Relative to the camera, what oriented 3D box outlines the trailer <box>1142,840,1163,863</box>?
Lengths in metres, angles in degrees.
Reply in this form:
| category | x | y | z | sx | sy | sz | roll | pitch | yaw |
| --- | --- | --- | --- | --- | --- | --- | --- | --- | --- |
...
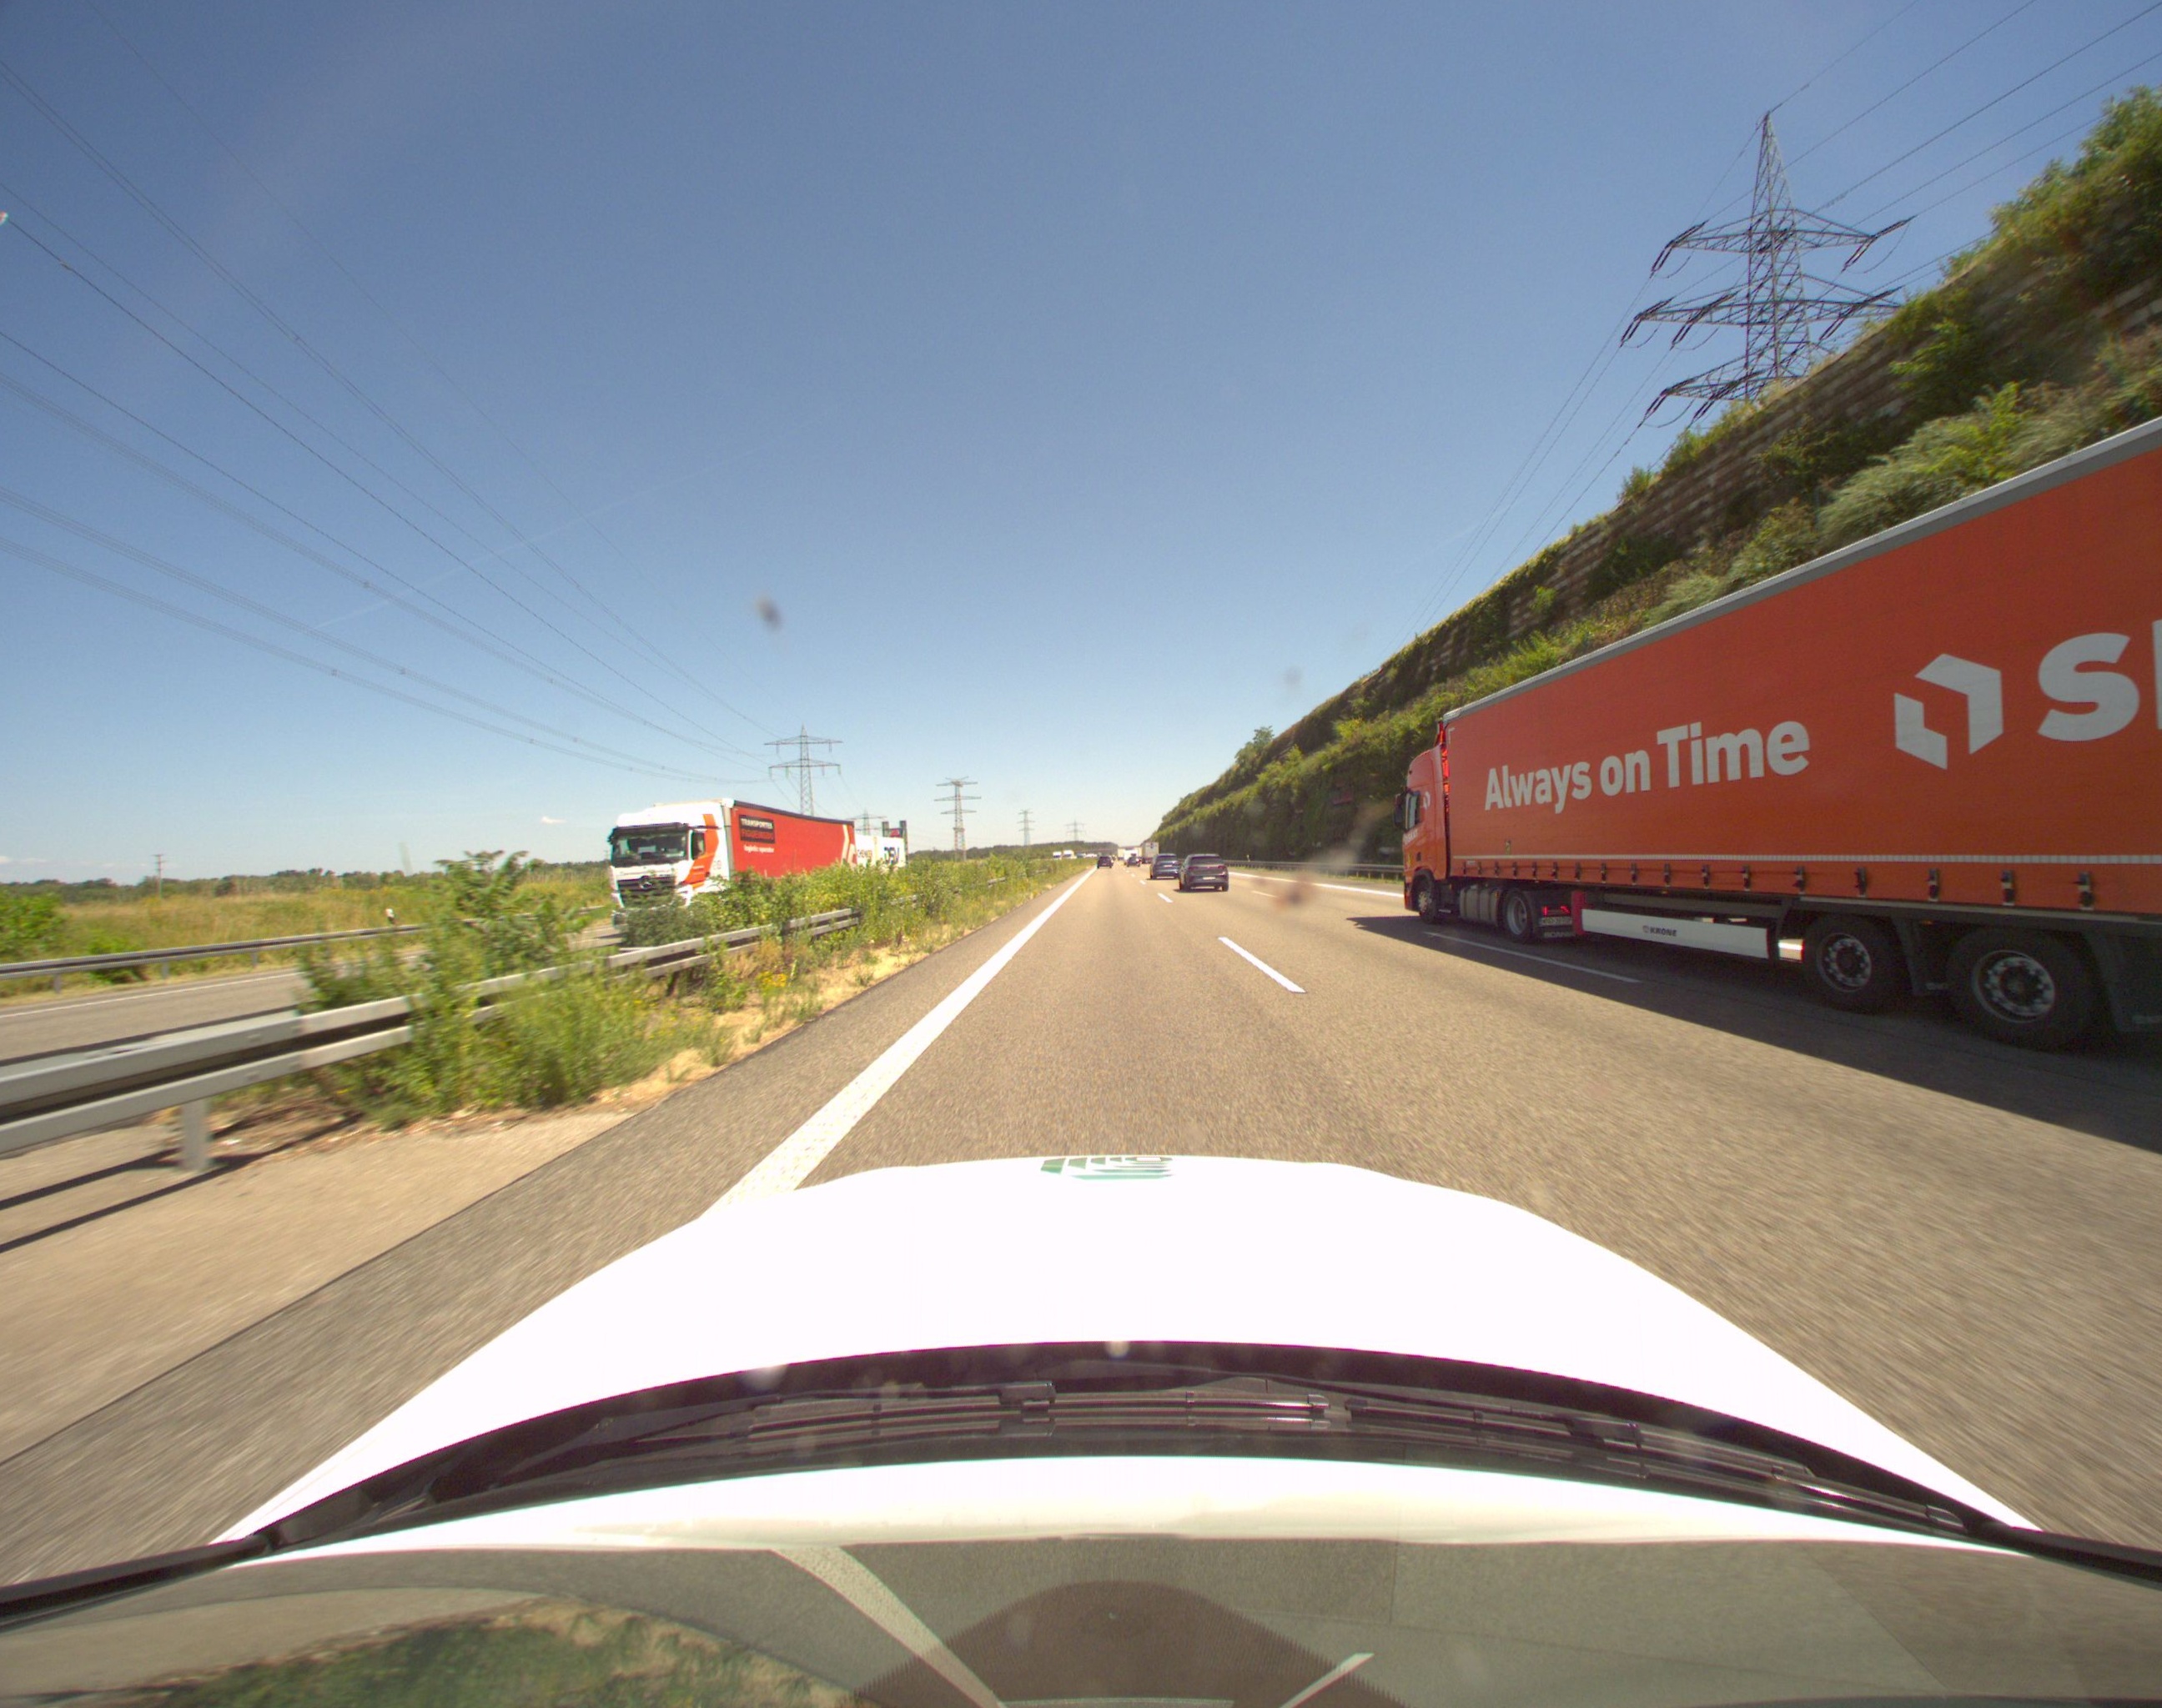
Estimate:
| category | x | y | z | sx | sy | sz | roll | pitch | yaw |
| --- | --- | --- | --- | --- | --- | --- | --- | --- | --- |
| trailer | 13.569 | -0.408 | 155.373 | 3.171 | 4.121 | 13.438 | -3 | 0 | 2 |

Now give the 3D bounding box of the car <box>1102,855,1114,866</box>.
| category | x | y | z | sx | sy | sz | roll | pitch | yaw |
| --- | --- | --- | --- | --- | --- | --- | --- | --- | --- |
| car | 4.442 | 1.106 | 133.954 | 1.823 | 1.670 | 4.001 | -3 | 0 | 2 |

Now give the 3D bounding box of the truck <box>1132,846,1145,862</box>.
| category | x | y | z | sx | sy | sz | roll | pitch | yaw |
| --- | --- | --- | --- | --- | --- | --- | --- | --- | --- |
| truck | 15.882 | -0.044 | 227.498 | 3.107 | 4.280 | 11.940 | -3 | 0 | 2 |

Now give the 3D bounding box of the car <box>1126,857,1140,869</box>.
| category | x | y | z | sx | sy | sz | roll | pitch | yaw |
| --- | --- | --- | --- | --- | --- | --- | --- | --- | --- |
| car | 7.433 | 1.265 | 116.127 | 1.822 | 1.525 | 4.003 | -3 | 0 | 3 |

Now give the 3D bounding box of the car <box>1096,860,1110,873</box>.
| category | x | y | z | sx | sy | sz | roll | pitch | yaw |
| --- | --- | --- | --- | --- | --- | --- | --- | --- | --- |
| car | 3.024 | 1.641 | 110.289 | 1.823 | 1.670 | 4.001 | -3 | 0 | 2 |

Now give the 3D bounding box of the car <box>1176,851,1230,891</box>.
| category | x | y | z | sx | sy | sz | roll | pitch | yaw |
| --- | --- | --- | --- | --- | --- | --- | --- | --- | --- |
| car | 5.104 | 0.682 | 34.567 | 1.743 | 1.525 | 3.996 | -2 | 0 | 1 |

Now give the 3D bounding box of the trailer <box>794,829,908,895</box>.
| category | x | y | z | sx | sy | sz | roll | pitch | yaw |
| --- | --- | --- | --- | --- | --- | --- | --- | --- | --- |
| trailer | -15.603 | 0.499 | 57.221 | 2.843 | 3.822 | 15.983 | -3 | 0 | 1 |

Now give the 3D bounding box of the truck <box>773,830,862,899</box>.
| category | x | y | z | sx | sy | sz | roll | pitch | yaw |
| --- | --- | --- | --- | --- | --- | --- | --- | --- | --- |
| truck | -15.765 | 0.603 | 49.292 | 2.825 | 3.751 | 6.850 | -3 | 0 | 1 |

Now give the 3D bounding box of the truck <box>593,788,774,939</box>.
| category | x | y | z | sx | sy | sz | roll | pitch | yaw |
| --- | --- | --- | --- | --- | --- | --- | --- | --- | --- |
| truck | -12.579 | 0.270 | 26.438 | 2.590 | 4.211 | 5.912 | -3 | 0 | 2 |

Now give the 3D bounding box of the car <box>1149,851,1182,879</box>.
| category | x | y | z | sx | sy | sz | roll | pitch | yaw |
| --- | --- | --- | --- | --- | --- | --- | --- | --- | --- |
| car | 5.450 | 0.681 | 52.878 | 1.787 | 1.653 | 4.140 | -2 | 0 | 2 |

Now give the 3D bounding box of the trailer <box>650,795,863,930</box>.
| category | x | y | z | sx | sy | sz | roll | pitch | yaw |
| --- | --- | --- | --- | --- | --- | --- | --- | --- | --- |
| trailer | -12.416 | 0.304 | 33.517 | 2.582 | 4.238 | 14.331 | -3 | 0 | 1 |

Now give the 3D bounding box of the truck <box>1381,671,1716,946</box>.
| category | x | y | z | sx | sy | sz | roll | pitch | yaw |
| --- | --- | --- | --- | --- | --- | --- | --- | --- | --- |
| truck | 8.113 | -0.667 | 15.316 | 2.608 | 3.992 | 6.529 | -2 | 0 | 2 |

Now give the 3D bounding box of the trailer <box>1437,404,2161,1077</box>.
| category | x | y | z | sx | sy | sz | roll | pitch | yaw |
| --- | --- | --- | --- | --- | --- | --- | --- | --- | --- |
| trailer | 7.882 | -0.687 | 8.555 | 2.635 | 4.005 | 13.611 | -2 | 0 | 2 |

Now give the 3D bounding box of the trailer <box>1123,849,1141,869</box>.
| category | x | y | z | sx | sy | sz | roll | pitch | yaw |
| --- | --- | --- | --- | --- | --- | --- | --- | --- | --- |
| trailer | 8.886 | 0.887 | 143.016 | 2.601 | 3.213 | 9.956 | -3 | 0 | 2 |

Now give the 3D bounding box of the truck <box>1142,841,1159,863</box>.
| category | x | y | z | sx | sy | sz | roll | pitch | yaw |
| --- | --- | --- | --- | --- | --- | --- | --- | --- | --- |
| truck | 13.816 | -0.339 | 162.316 | 3.124 | 4.141 | 5.506 | -3 | 0 | 2 |
